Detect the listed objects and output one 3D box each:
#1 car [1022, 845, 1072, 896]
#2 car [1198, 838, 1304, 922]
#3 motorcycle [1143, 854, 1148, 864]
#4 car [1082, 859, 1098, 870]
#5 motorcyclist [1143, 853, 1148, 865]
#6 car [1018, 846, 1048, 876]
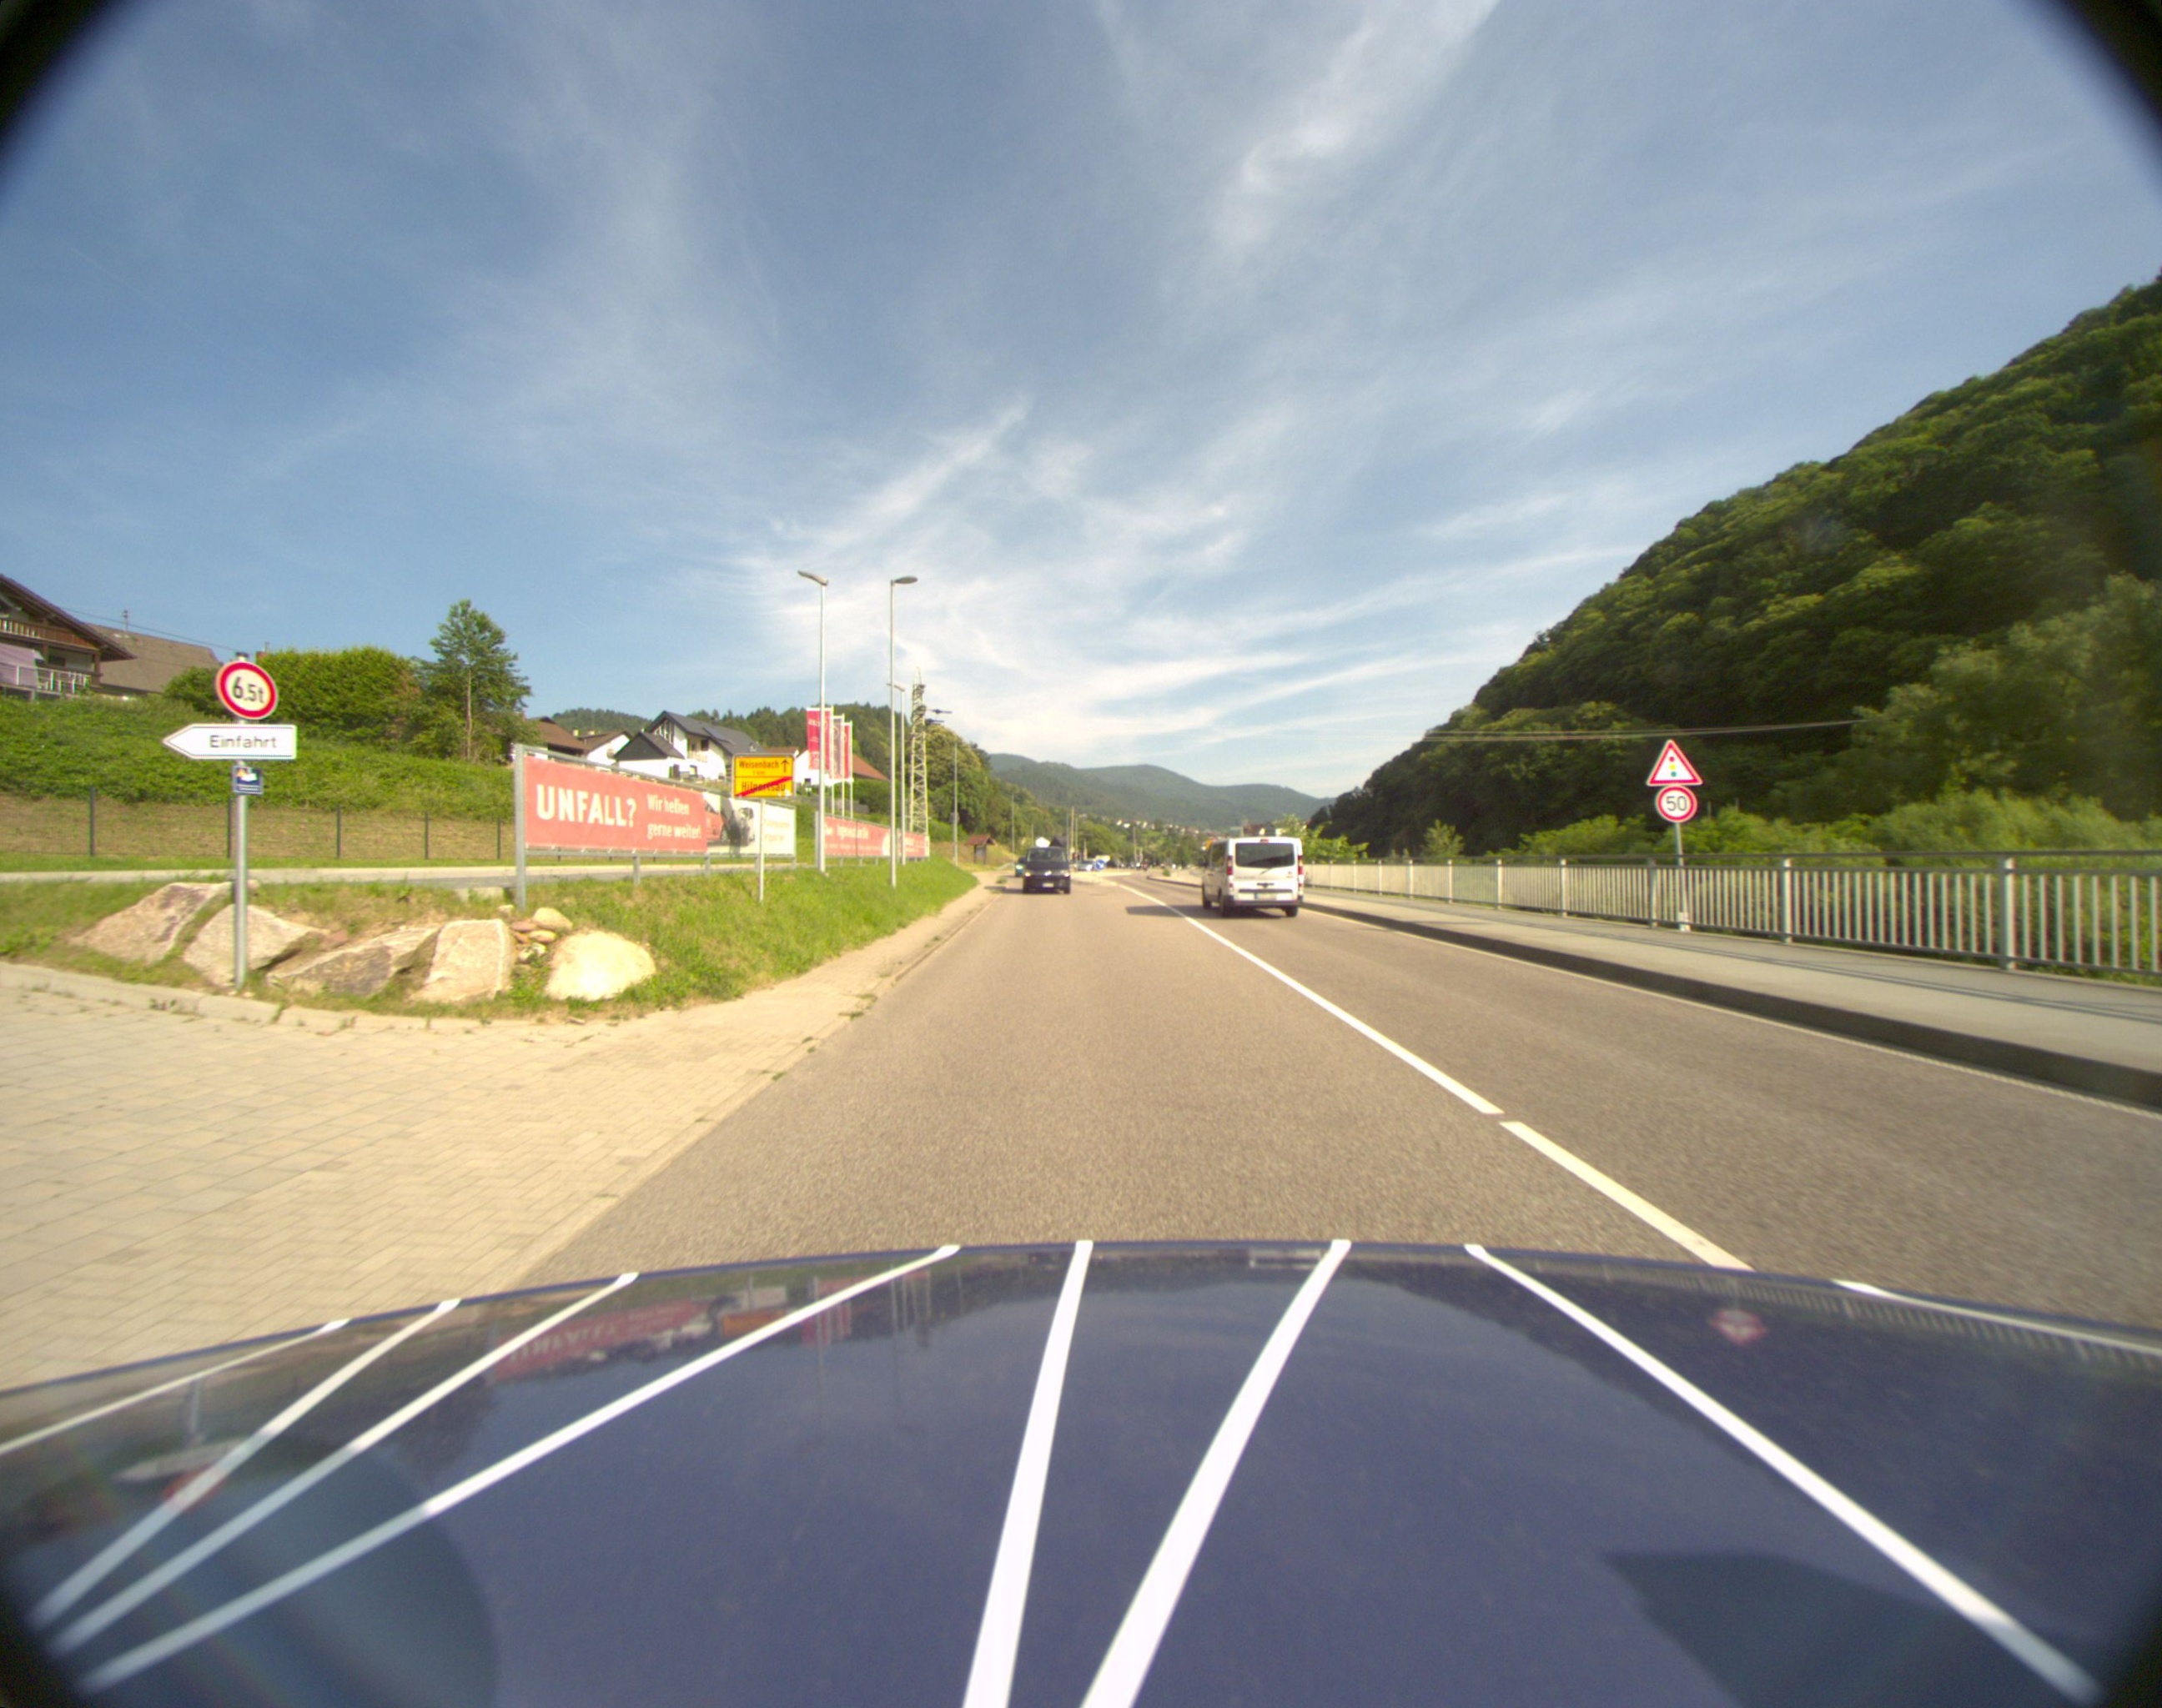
[{"bbox_3d":[-1.492,0.638,31.997,1.866,1.936,4.636,2,0,-5],"label":"car"},{"bbox_3d":[4.356,0.570,20.327,1.924,1.956,5.146,0,1,3],"label":"car"},{"bbox_3d":[9.089,0.745,107.105,0.774,1.414,2.319,1,0,5],"label":"motorcycle"},{"bbox_3d":[1.026,1.151,84.917,1.271,1.171,3.125,-1,-1,9],"label":"car"},{"bbox_3d":[9.106,0.646,107.176,0.764,1.668,0.727,1,1,6],"label":"motorcyclist"},{"bbox_3d":[-3.404,0.517,54.437,1.613,2.001,3.824,-1,-1,4],"label":"car"}]
